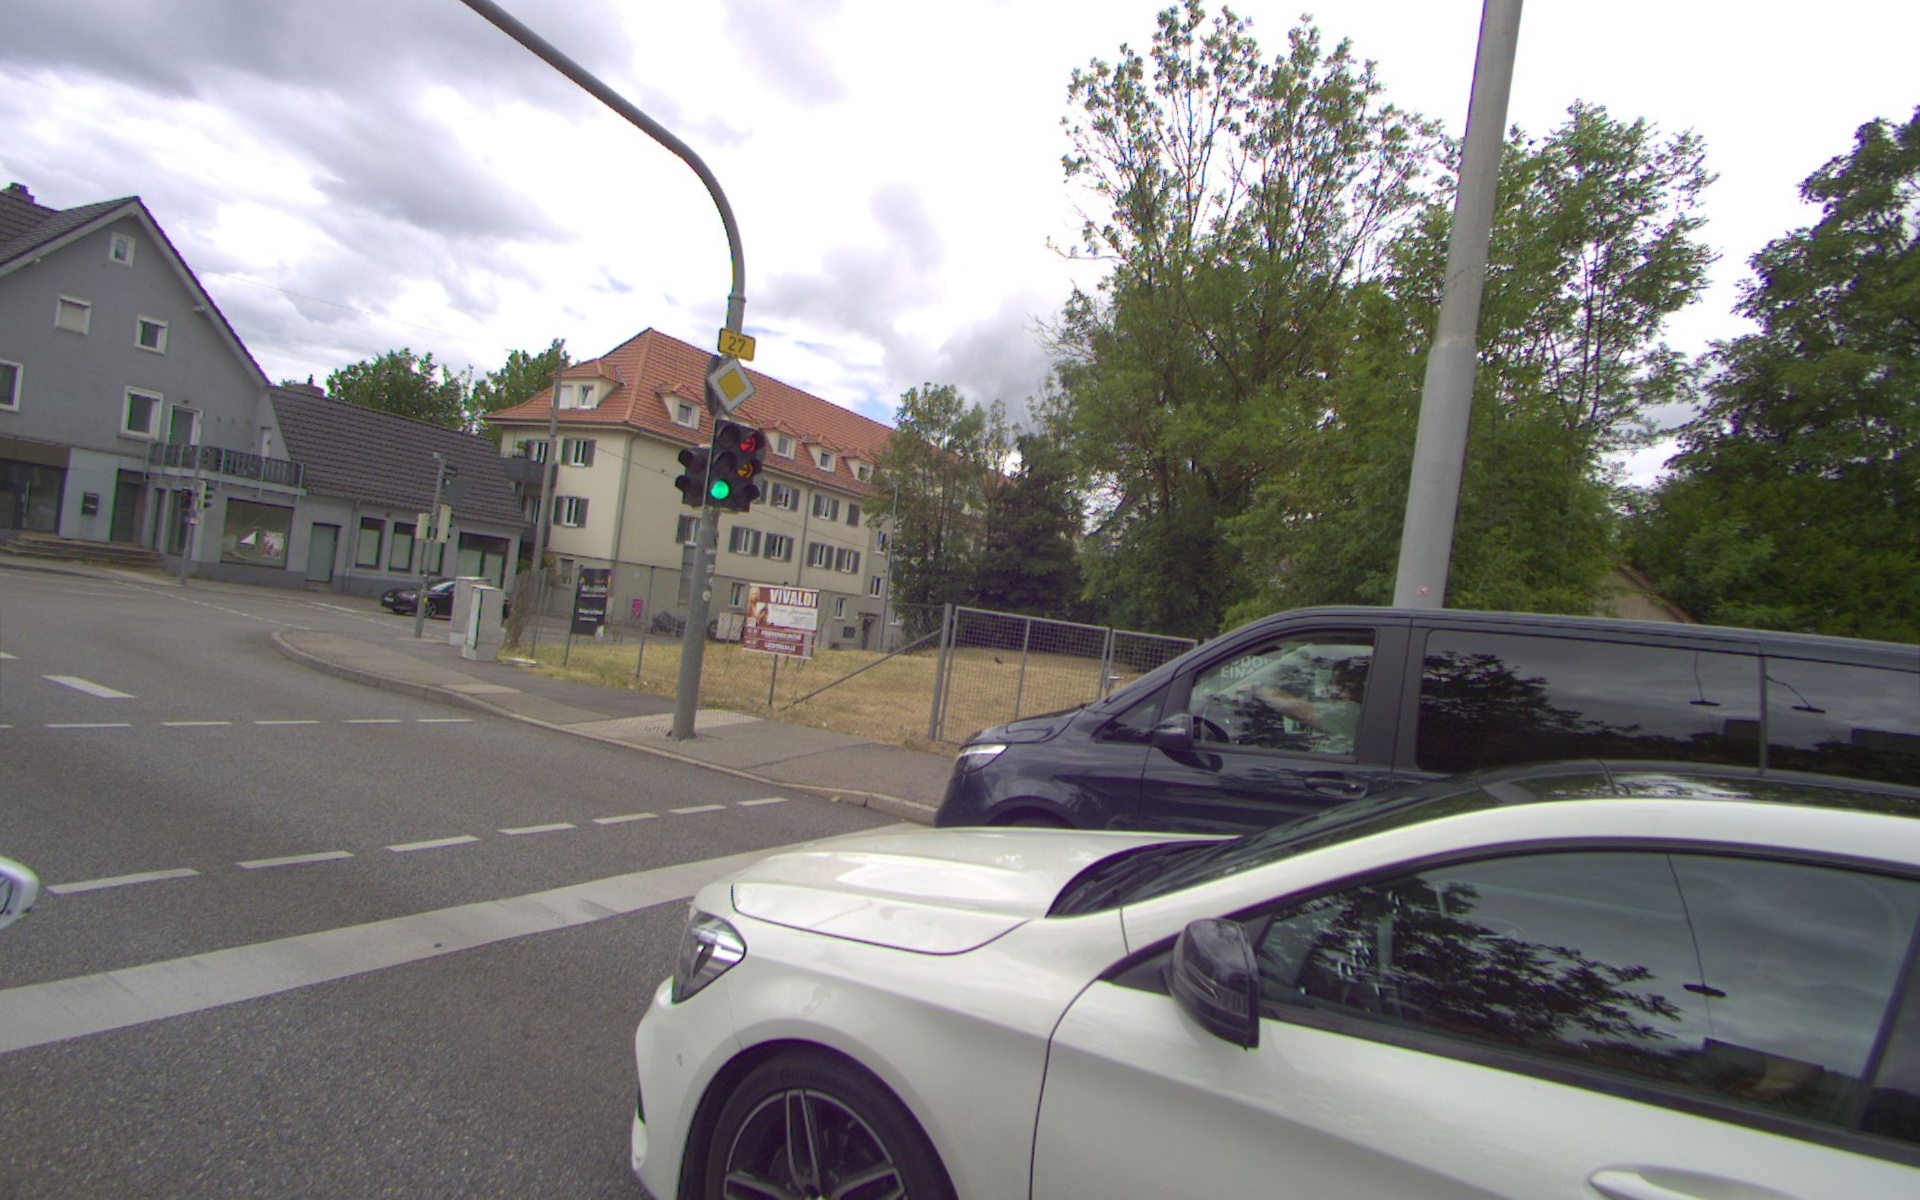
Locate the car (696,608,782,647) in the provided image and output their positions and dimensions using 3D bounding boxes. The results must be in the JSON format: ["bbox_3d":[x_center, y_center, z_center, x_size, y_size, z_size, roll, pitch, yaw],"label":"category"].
[{"bbox_3d":[-11.389,1.432,52.067,1.966,1.480,4.087,7,-2,30],"label":"car"}]

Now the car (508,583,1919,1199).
[{"bbox_3d":[1.389,0.963,1.994,4.622,1.490,1.796,6,-1,32],"label":"car"}]

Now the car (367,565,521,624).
[{"bbox_3d":[-17.877,-0.148,35.038,1.876,1.438,4.353,6,-3,30],"label":"car"}]

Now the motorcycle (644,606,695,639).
[{"bbox_3d":[-13.726,1.077,47.639,0.674,1.332,2.310,9,-1,32],"label":"motorcycle"}]

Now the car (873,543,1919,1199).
[{"bbox_3d":[2.224,0.948,4.712,4.791,1.911,2.014,6,-1,29],"label":"car"}]
